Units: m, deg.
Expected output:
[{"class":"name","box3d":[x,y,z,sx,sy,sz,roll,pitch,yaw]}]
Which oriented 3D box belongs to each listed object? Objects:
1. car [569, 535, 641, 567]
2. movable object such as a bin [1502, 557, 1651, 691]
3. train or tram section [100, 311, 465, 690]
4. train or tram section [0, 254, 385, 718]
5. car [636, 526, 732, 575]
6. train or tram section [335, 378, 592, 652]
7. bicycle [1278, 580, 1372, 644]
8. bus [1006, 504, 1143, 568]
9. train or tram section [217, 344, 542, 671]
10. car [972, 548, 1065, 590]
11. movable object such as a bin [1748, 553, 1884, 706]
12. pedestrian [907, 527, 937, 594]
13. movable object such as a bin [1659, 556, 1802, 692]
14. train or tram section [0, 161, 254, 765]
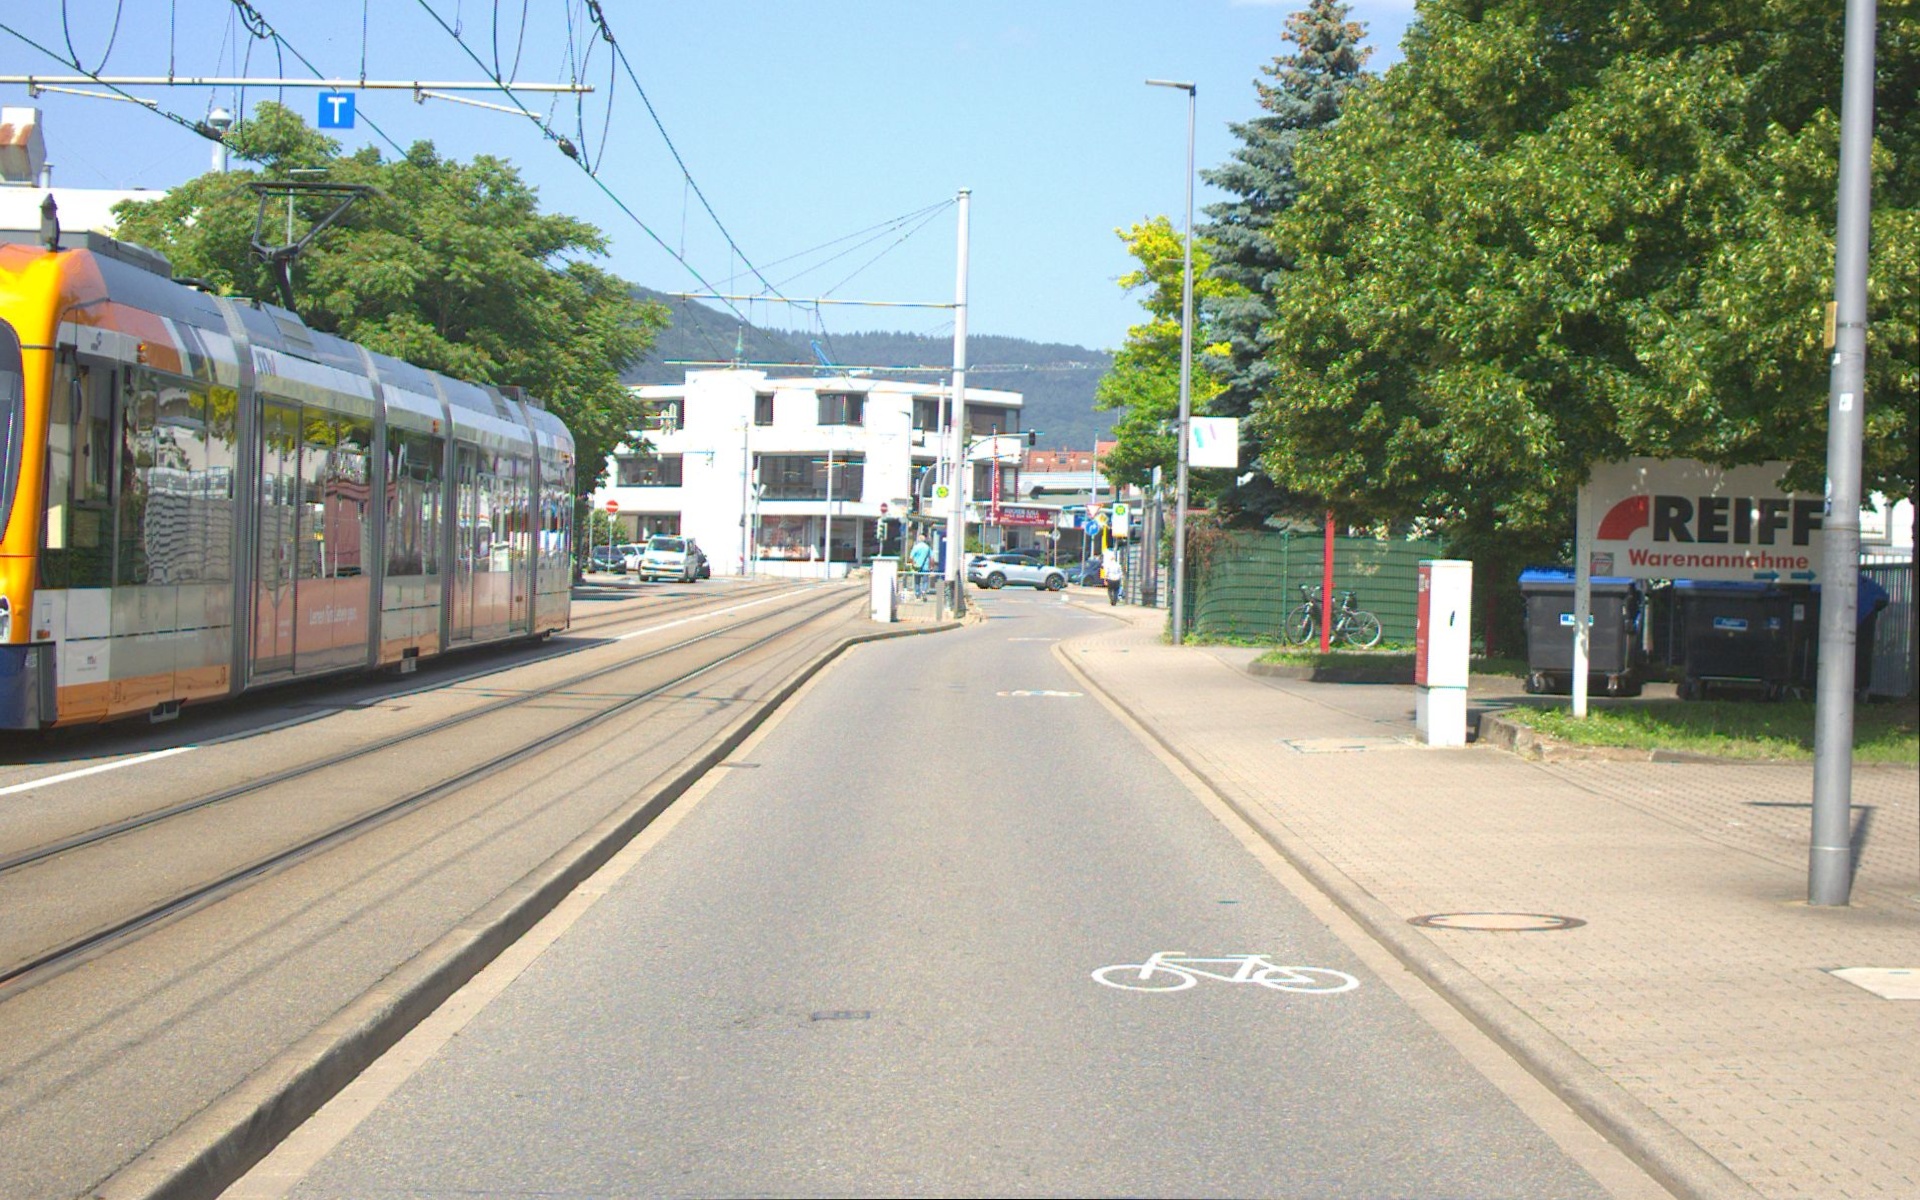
[{"class":"car","box3d":[-18.304,-2.530,177.179,1.787,1.546,3.999,0,1,-39]},{"class":"movable object such as a bin","box3d":[6.889,0.266,38.397,1.386,1.425,0.989,2,-1,25]},{"class":"train or tram section","box3d":[-6.622,-0.950,34.258,2.611,3.435,5.011,1,1,0]},{"class":"train or tram section","box3d":[-6.619,-0.902,28.750,2.611,3.435,5.844,1,1,0]},{"class":"car","box3d":[-11.563,-2.072,144.317,1.863,1.930,3.992,4,2,33]},{"class":"train or tram section","box3d":[-6.686,-1.125,47.133,2.580,3.435,6.363,1,1,0]},{"class":"bicycle","box3d":[5.941,0.200,56.046,1.471,0.987,0.388,1,-2,0]},{"class":"bus","box3d":[5.490,-3.129,166.440,2.435,2.870,8.793,2,1,-28]},{"class":"train or tram section","box3d":[-6.650,-1.033,40.369,2.580,3.435,7.137,1,1,0]},{"class":"car","box3d":[2.604,-1.390,153.620,3.986,1.744,1.776,2,1,-5]},{"class":"movable object such as a bin","box3d":[8.981,0.316,36.111,0.978,1.541,1.321,2,-1,-3]},{"class":"pedestrian","box3d":[-1.004,-1.033,90.577,0.743,1.734,0.727,1,1,0]},{"class":"movable object such as a bin","box3d":[8.471,0.269,37.787,1.318,1.425,0.883,2,-1,25]},{"class":"train or tram section","box3d":[-6.623,-0.864,22.940,2.611,3.521,5.743,1,1,0]}]
